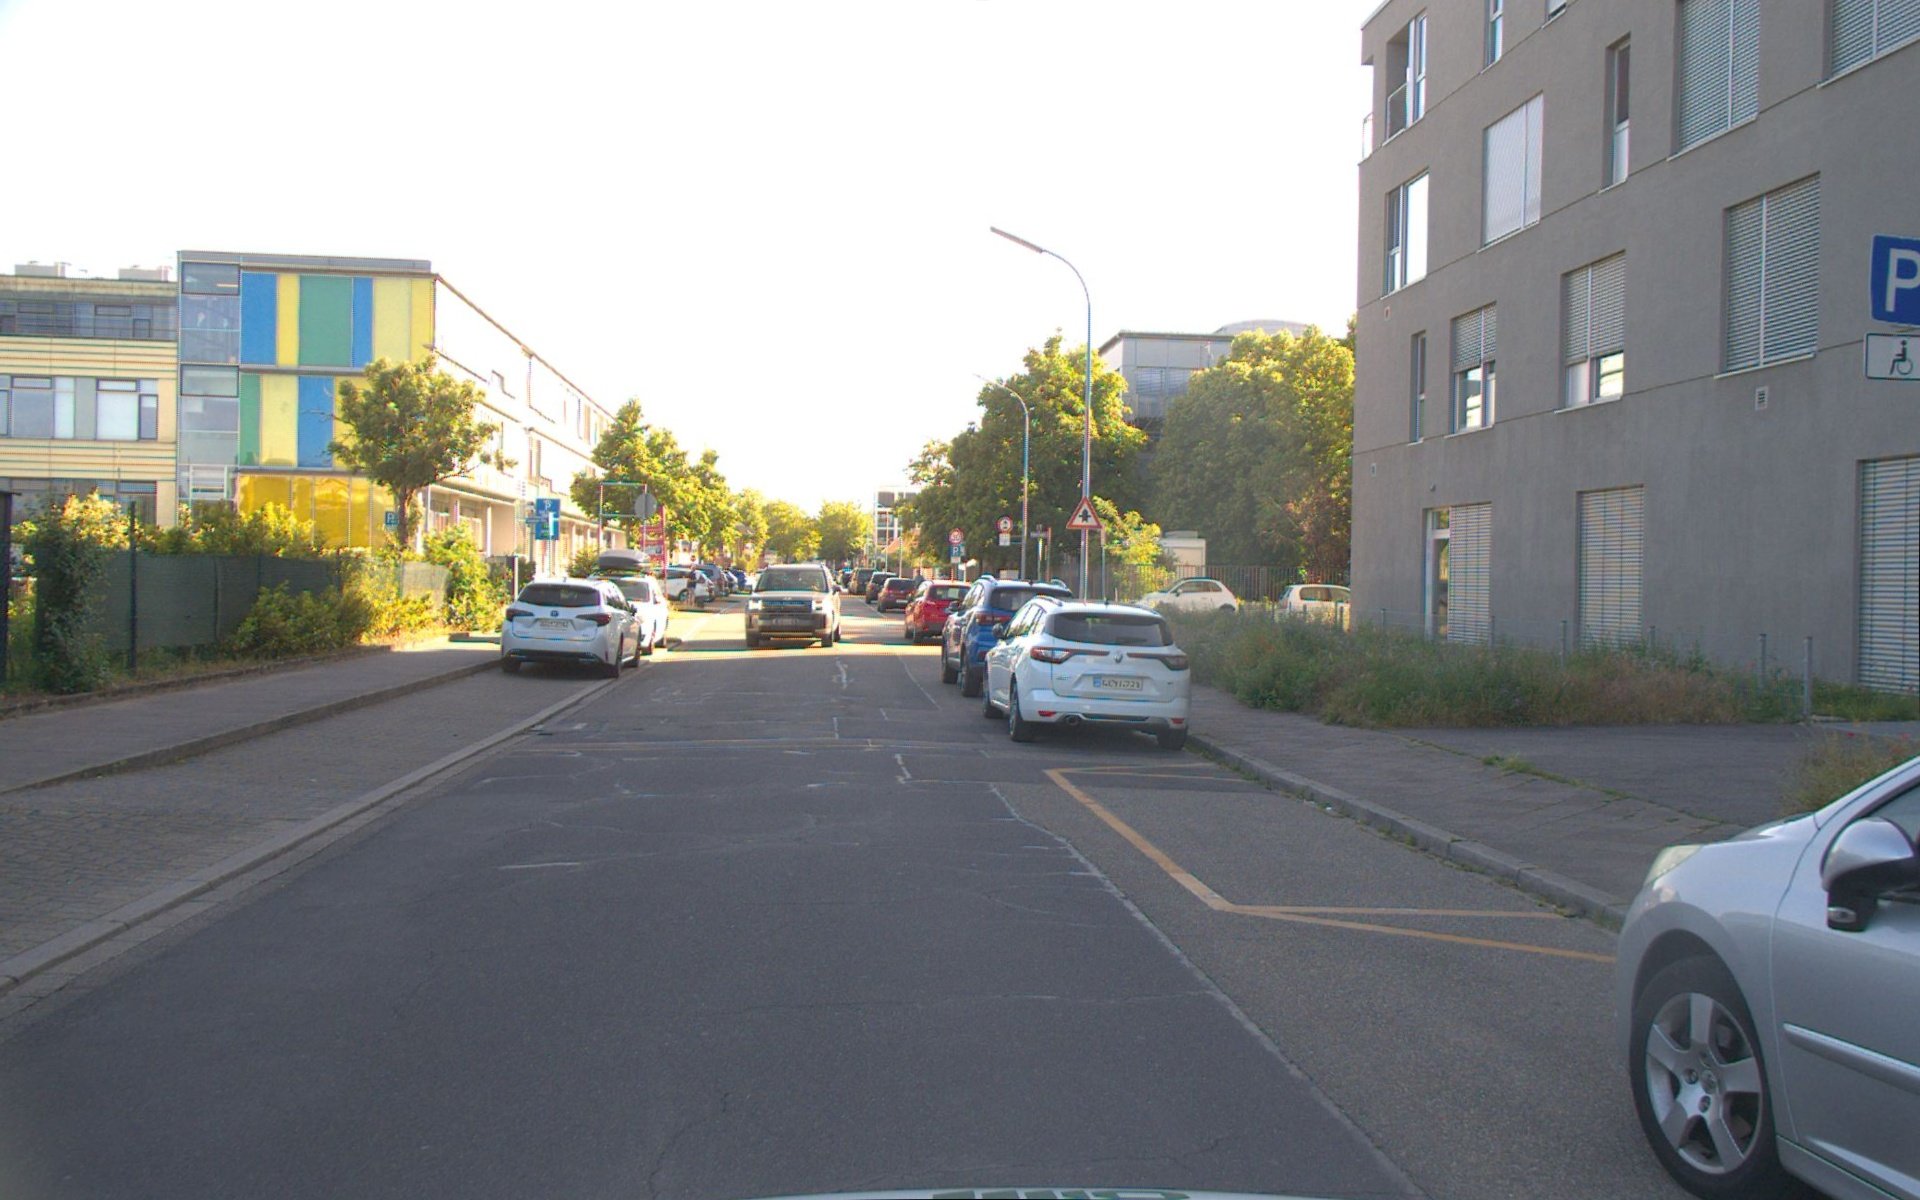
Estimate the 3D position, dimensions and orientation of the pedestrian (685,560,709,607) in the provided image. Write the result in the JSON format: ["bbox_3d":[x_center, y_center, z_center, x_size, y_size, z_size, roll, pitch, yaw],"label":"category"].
[{"bbox_3d":[-10.860,-0.689,68.380,0.841,1.874,0.825,3,1,-4],"label":"pedestrian"}]

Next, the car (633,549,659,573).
[{"bbox_3d":[-29.216,-3.621,154.108,1.955,2.049,3.995,1,0,-6],"label":"car"}]

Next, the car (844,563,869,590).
[{"bbox_3d":[-7.895,-1.826,125.903,1.838,2.013,3.996,0,1,-5],"label":"car"}]

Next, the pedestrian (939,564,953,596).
[{"bbox_3d":[-0.753,-1.088,90.300,0.685,1.690,0.751,-1,1,-6],"label":"pedestrian"}]

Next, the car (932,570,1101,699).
[{"bbox_3d":[0.724,0.422,24.285,1.782,1.627,4.621,3,1,-6],"label":"car"}]

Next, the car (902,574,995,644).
[{"bbox_3d":[-0.339,0.166,40.424,1.784,1.525,4.447,3,1,-6],"label":"car"}]

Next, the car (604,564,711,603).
[{"bbox_3d":[-13.763,-0.757,75.446,4.519,1.680,1.867,1,0,-2],"label":"car"}]

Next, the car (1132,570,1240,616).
[{"bbox_3d":[7.827,-0.251,57.413,3.477,1.512,1.599,1,1,-5],"label":"car"}]

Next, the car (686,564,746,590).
[{"bbox_3d":[-17.171,-1.616,116.394,4.136,1.631,1.868,2,1,-9],"label":"car"}]

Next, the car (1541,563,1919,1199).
[{"bbox_3d":[2.815,0.752,3.078,1.673,1.553,4.151,3,1,-5],"label":"car"}]

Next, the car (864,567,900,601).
[{"bbox_3d":[-4.198,-0.880,88.710,1.776,1.695,4.589,2,2,-4],"label":"car"}]

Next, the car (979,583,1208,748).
[{"bbox_3d":[1.298,0.601,17.950,1.711,1.454,4.581,3,1,-5],"label":"car"}]

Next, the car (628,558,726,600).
[{"bbox_3d":[-14.306,-1.080,83.810,4.650,1.897,1.826,2,1,-5],"label":"car"}]

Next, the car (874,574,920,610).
[{"bbox_3d":[-2.781,-0.381,72.664,1.687,1.480,4.646,2,1,-6],"label":"car"}]

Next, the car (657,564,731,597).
[{"bbox_3d":[-14.587,-1.067,90.804,3.913,1.635,1.868,2,1,-9],"label":"car"}]

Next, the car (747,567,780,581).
[{"bbox_3d":[-23.683,-3.097,199.683,3.909,1.545,1.998,1,0,-5],"label":"car"}]

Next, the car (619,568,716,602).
[{"bbox_3d":[-13.791,-0.706,78.196,4.347,1.527,1.826,1,0,-5],"label":"car"}]

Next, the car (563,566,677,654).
[{"bbox_3d":[-6.639,0.149,32.704,1.663,1.539,4.512,3,1,-6],"label":"car"}]

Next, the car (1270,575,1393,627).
[{"bbox_3d":[11.079,0.019,49.477,3.258,1.483,1.714,1,1,-1],"label":"car"}]

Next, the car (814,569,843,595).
[{"bbox_3d":[-8.326,-1.138,105.105,1.709,1.570,3.997,1,1,-4],"label":"car"}]

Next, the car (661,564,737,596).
[{"bbox_3d":[-14.782,-1.157,93.749,4.168,1.639,2.044,2,1,-9],"label":"car"}]

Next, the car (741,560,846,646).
[{"bbox_3d":[-3.615,0.020,36.727,1.903,1.757,4.838,-1,1,-1],"label":"car"}]

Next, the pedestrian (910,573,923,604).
[{"bbox_3d":[-2.514,-0.679,95.425,0.703,1.788,0.884,-1,1,-5],"label":"pedestrian"}]

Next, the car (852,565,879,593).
[{"bbox_3d":[-6.489,-1.457,113.535,1.699,1.862,3.901,1,1,-5],"label":"car"}]

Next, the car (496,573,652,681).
[{"bbox_3d":[-6.000,0.358,26.178,1.713,1.471,4.537,3,1,-5],"label":"car"}]
